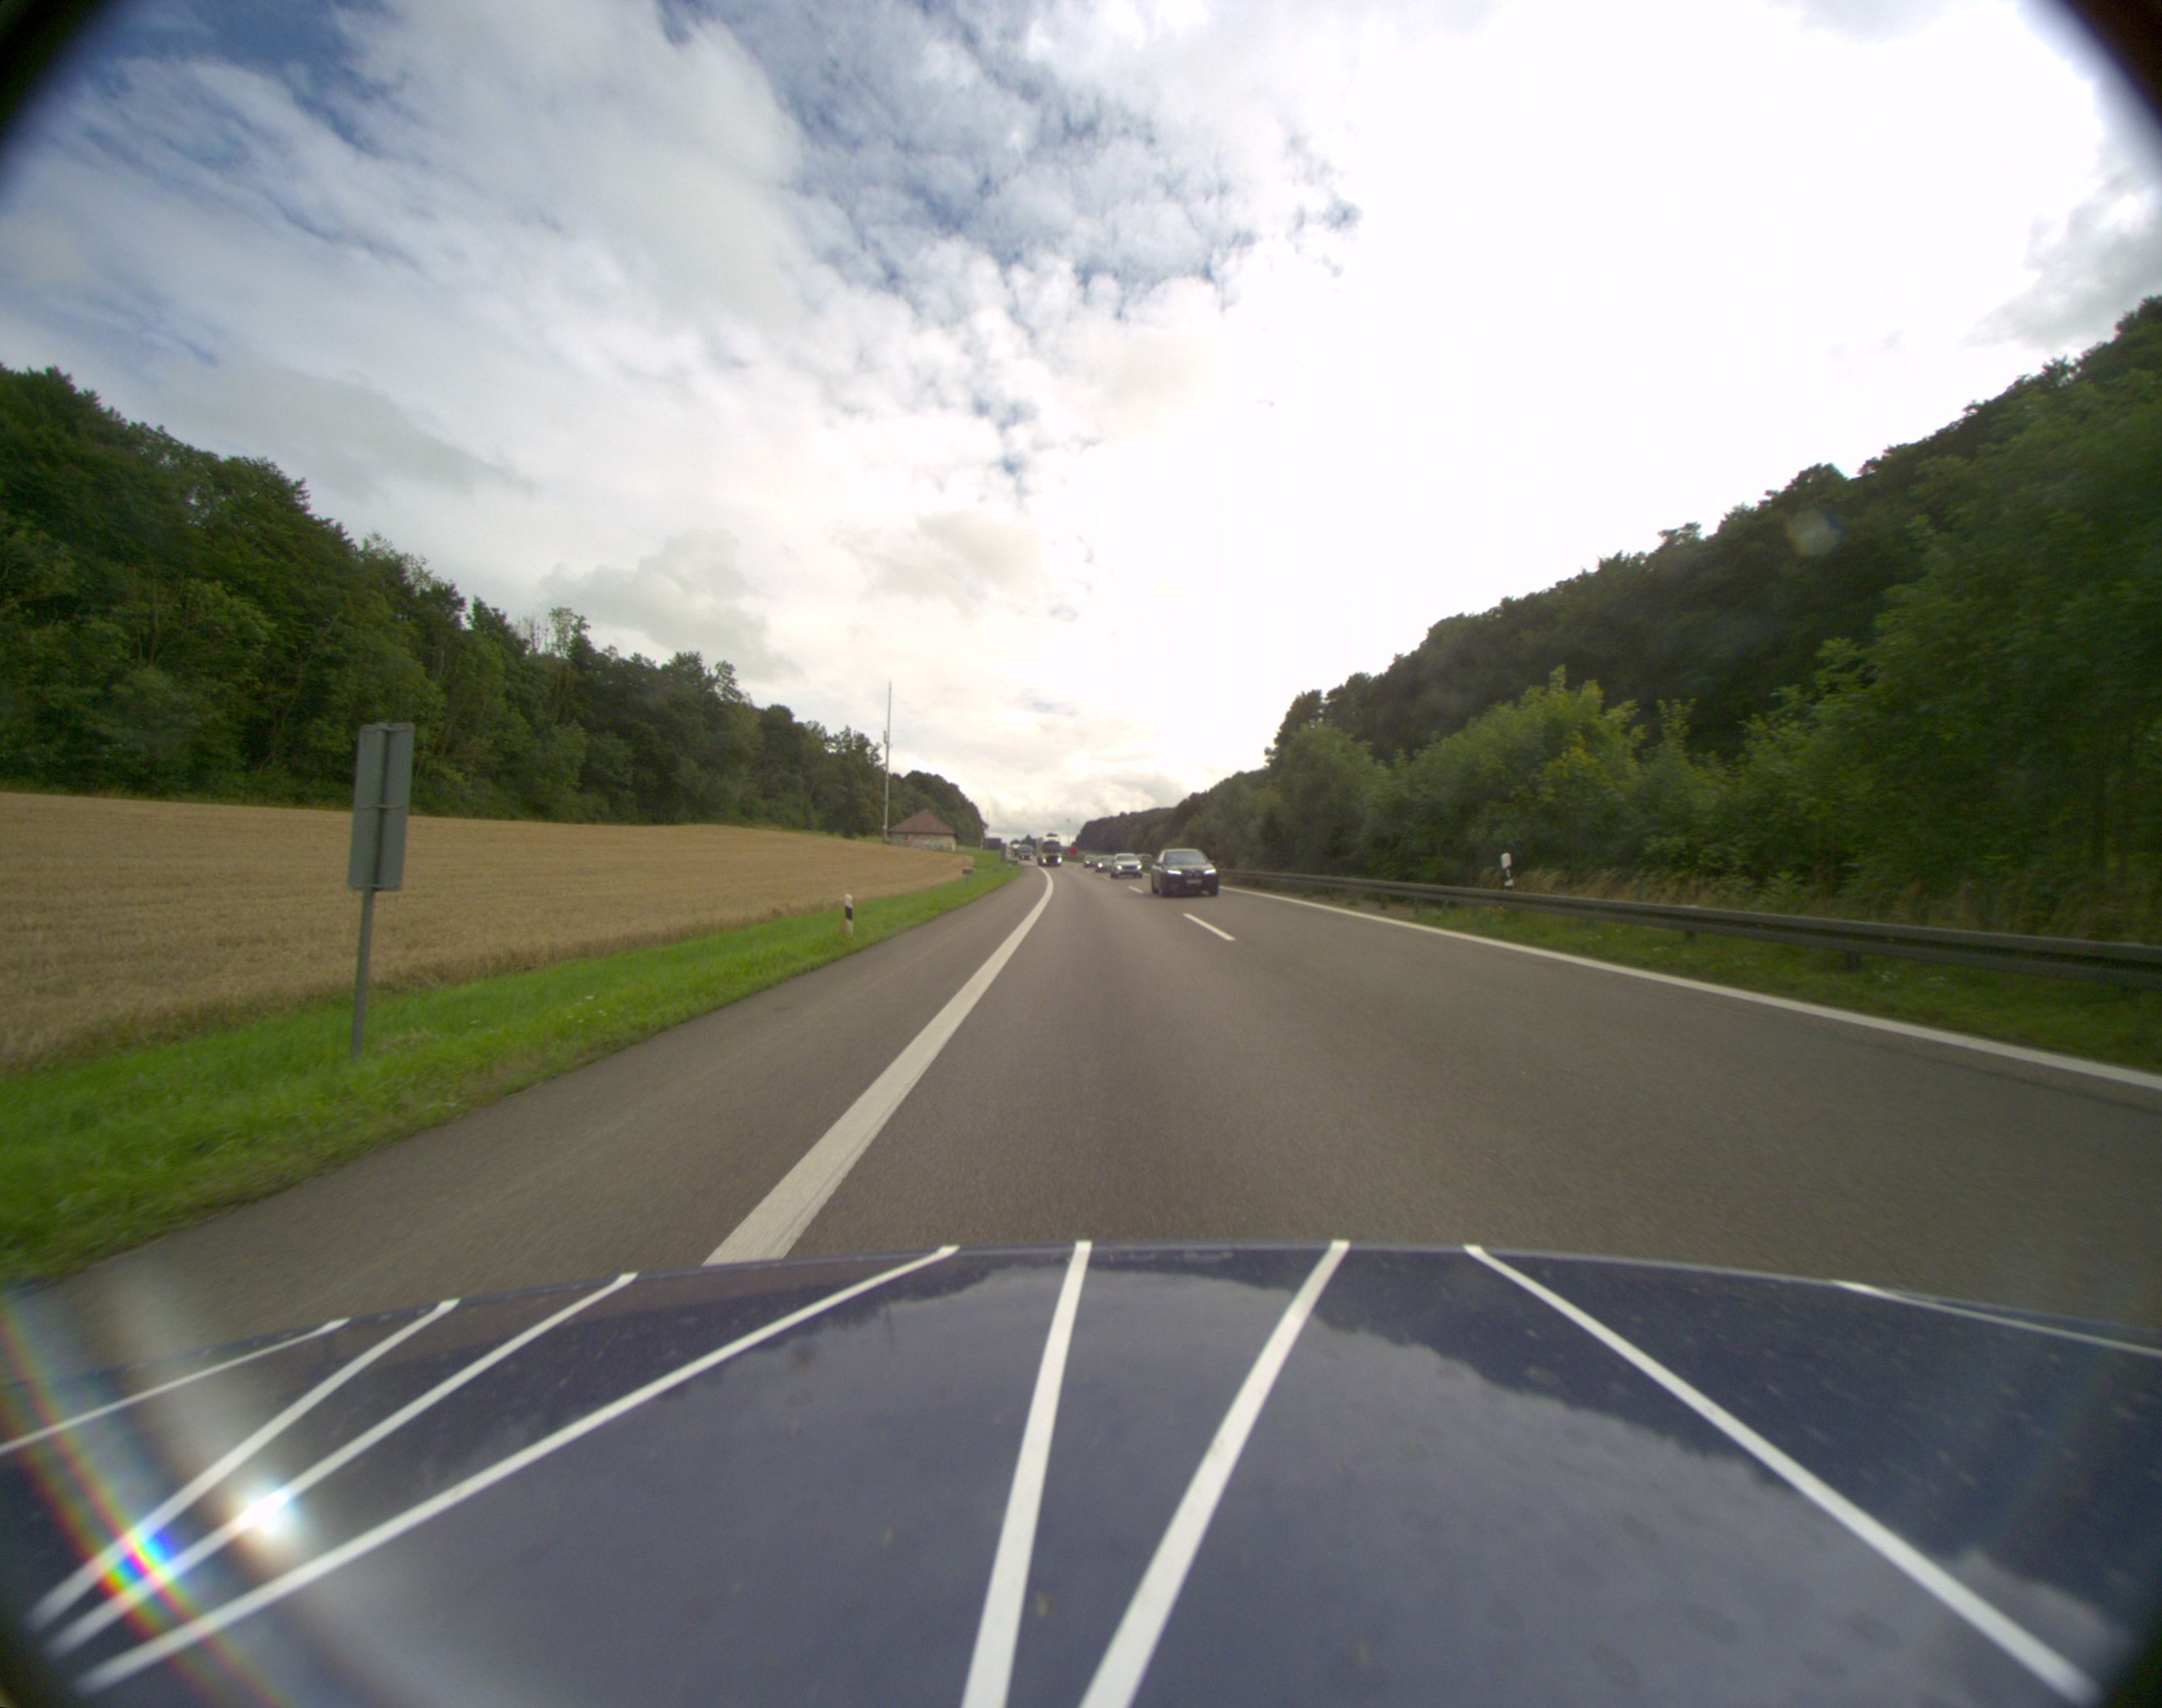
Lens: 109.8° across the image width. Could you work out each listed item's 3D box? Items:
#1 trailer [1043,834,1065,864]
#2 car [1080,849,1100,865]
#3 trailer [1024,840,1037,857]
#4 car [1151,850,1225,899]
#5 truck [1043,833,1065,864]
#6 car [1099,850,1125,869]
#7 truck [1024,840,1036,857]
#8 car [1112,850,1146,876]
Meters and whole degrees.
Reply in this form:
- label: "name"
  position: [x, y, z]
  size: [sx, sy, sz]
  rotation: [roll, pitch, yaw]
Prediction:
- label: "trailer"
  position: [-3.969, -0.752, 107.757]
  size: [2.787, 3.932, 11.292]
  rotation: [-2, 0, -3]
- label: "car"
  position: [1.034, 0.337, 90.654]
  size: [1.999, 1.656, 4.413]
  rotation: [-1, 1, -3]
- label: "trailer"
  position: [-12.346, -1.371, 186.247]
  size: [2.787, 3.932, 11.292]
  rotation: [-2, 0, -3]
- label: "car"
  position: [3.841, 0.692, 28.049]
  size: [1.999, 1.656, 4.414]
  rotation: [-1, 0, -1]
- label: "truck"
  position: [-3.676, -0.732, 102.640]
  size: [2.796, 3.948, 5.938]
  rotation: [-1, 0, -3]
- label: "car"
  position: [2.783, 0.465, 68.925]
  size: [1.999, 1.656, 4.414]
  rotation: [-1, 0, -1]
- label: "truck"
  position: [-12.012, -1.334, 180.040]
  size: [2.796, 3.948, 5.938]
  rotation: [-1, 0, -3]
- label: "car"
  position: [3.253, 0.595, 51.970]
  size: [1.998, 1.656, 4.414]
  rotation: [-1, 0, 0]
